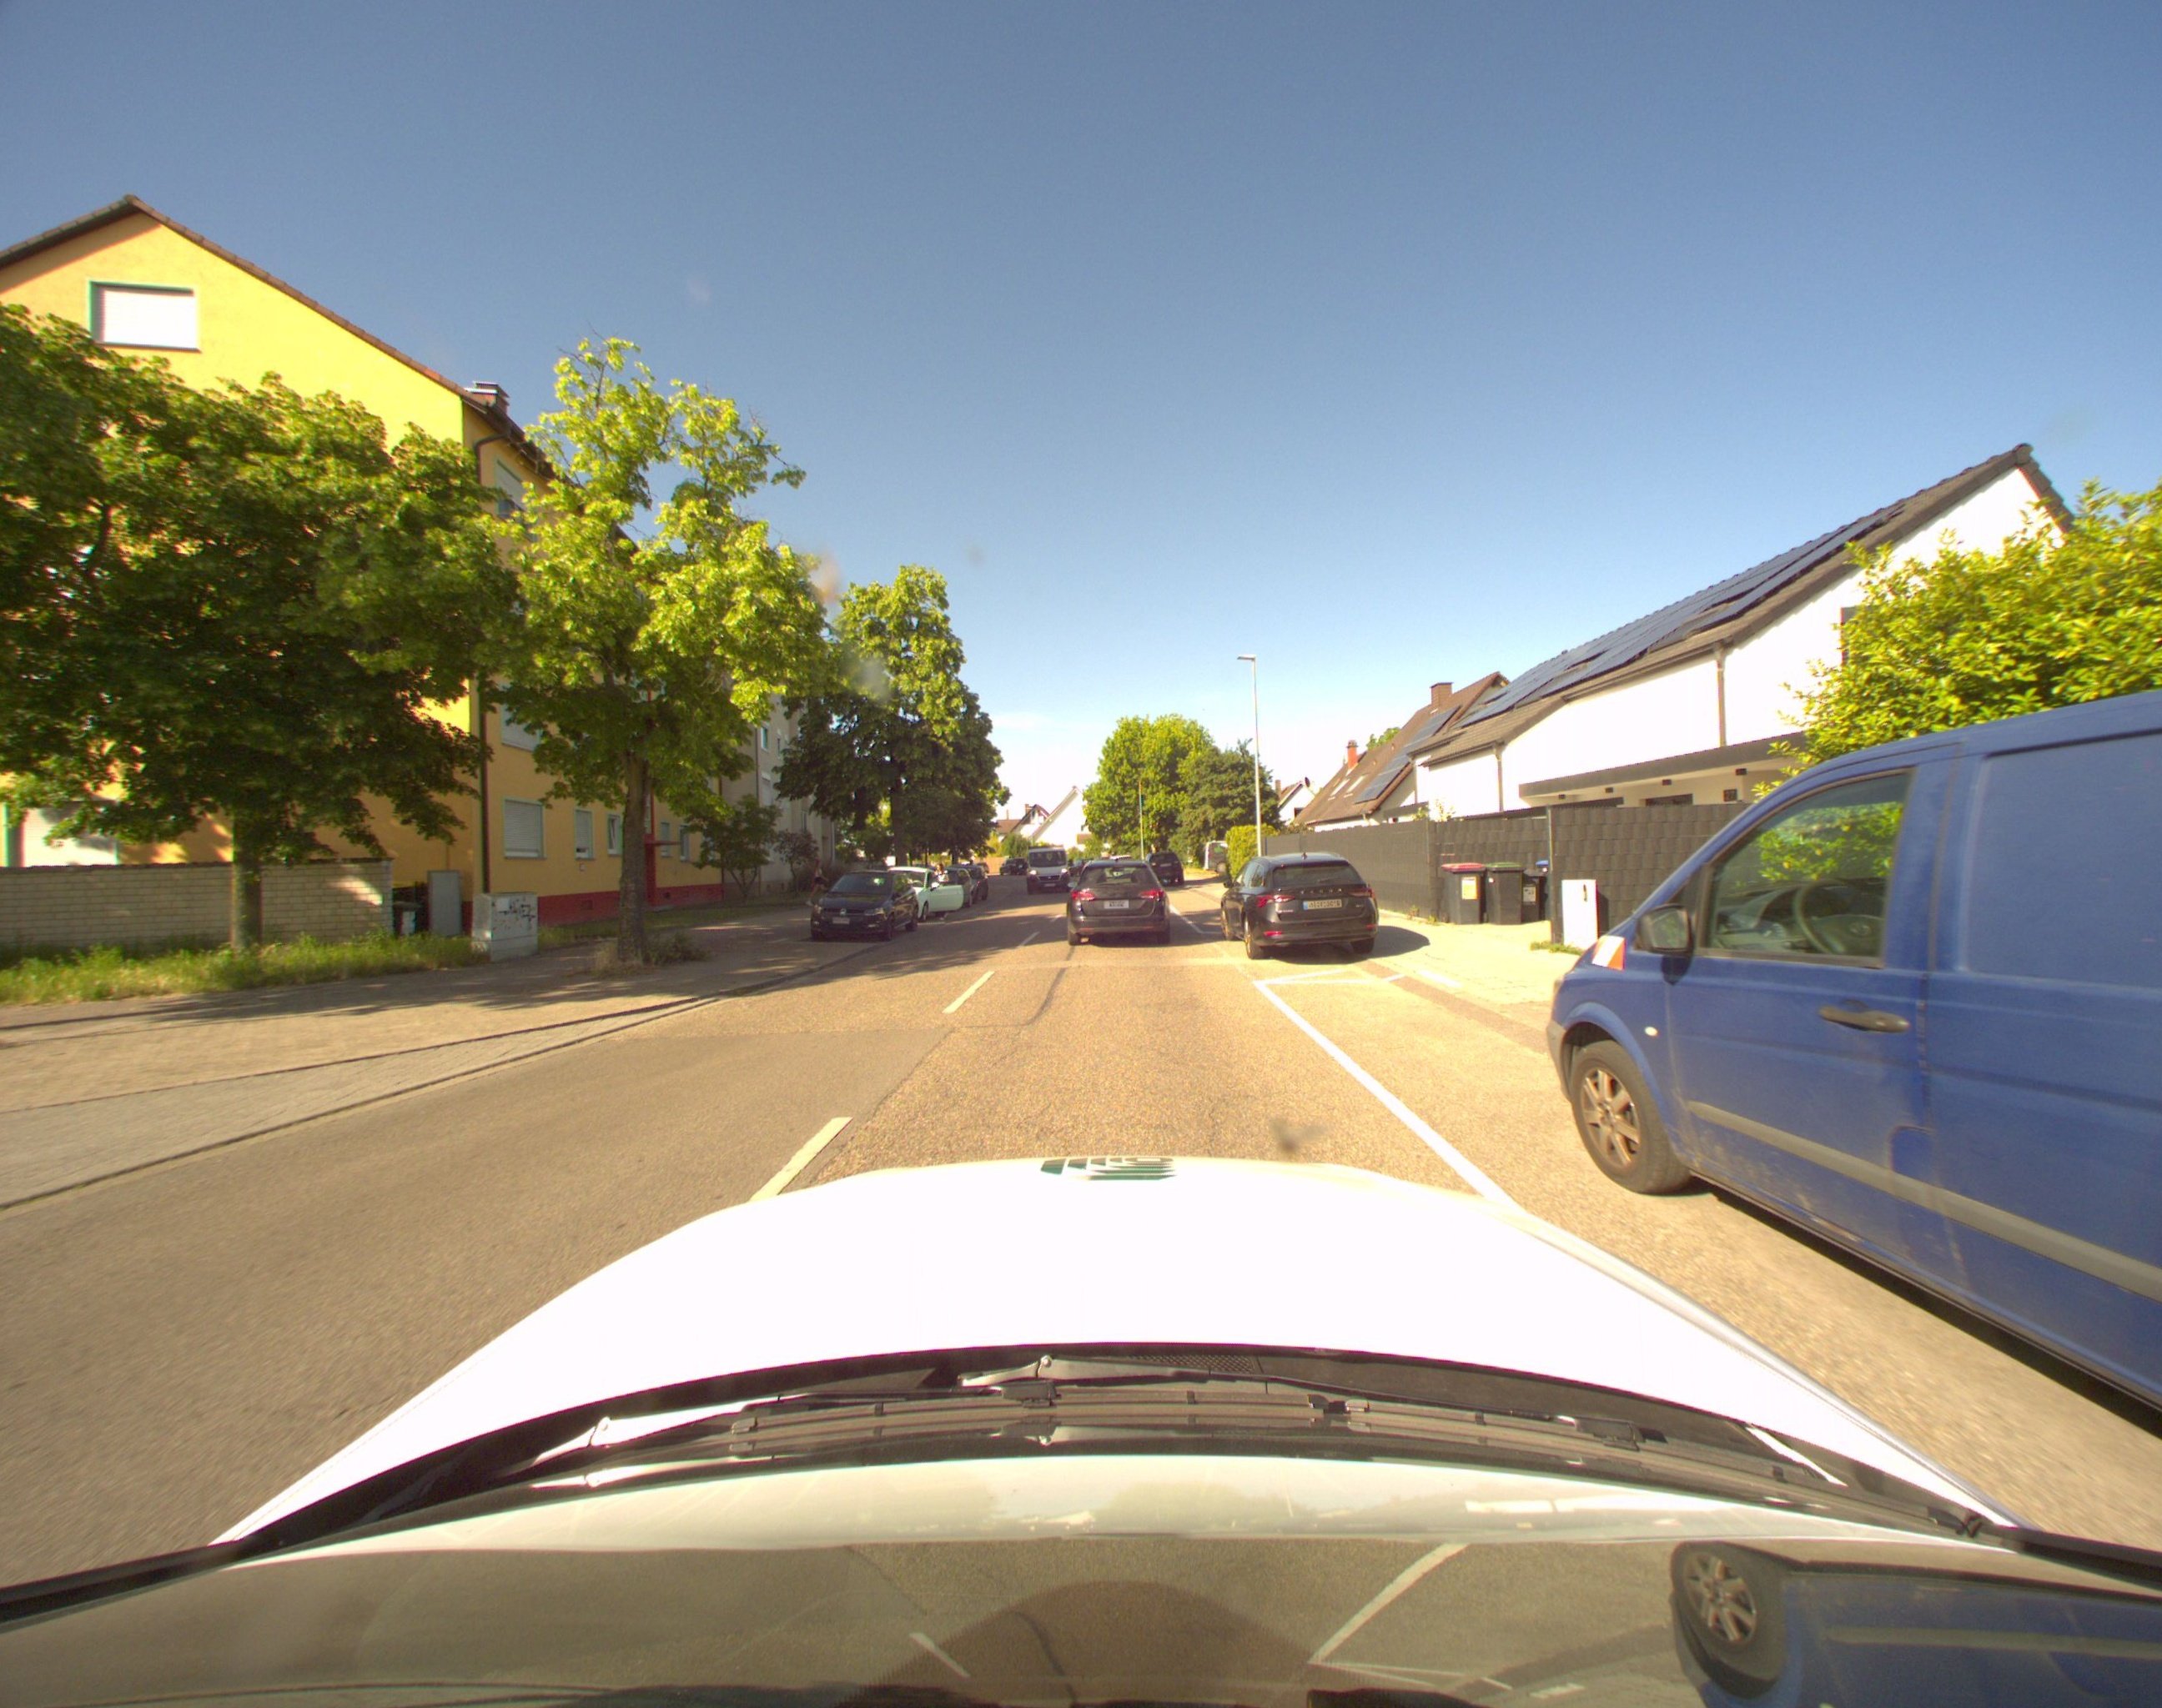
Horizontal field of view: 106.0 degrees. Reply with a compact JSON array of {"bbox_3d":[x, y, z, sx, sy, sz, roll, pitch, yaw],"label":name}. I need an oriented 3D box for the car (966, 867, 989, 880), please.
[{"bbox_3d":[-12.364,2.337,97.383,1.922,1.407,4.266,-1,-1,-19],"label":"car"}]

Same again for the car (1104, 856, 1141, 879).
[{"bbox_3d":[2.799,0.916,55.656,1.760,1.480,4.281,-1,-1,-8],"label":"car"}]

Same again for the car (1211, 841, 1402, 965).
[{"bbox_3d":[3.210,0.623,12.657,1.758,1.480,4.994,-2,0,3],"label":"car"}]

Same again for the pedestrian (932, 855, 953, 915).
[{"bbox_3d":[-4.134,0.923,24.281,0.503,1.761,0.694,-1,-3,-2],"label":"pedestrian"}]

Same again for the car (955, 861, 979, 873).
[{"bbox_3d":[-14.542,1.618,103.651,1.926,1.407,4.258,-1,-1,-25],"label":"car"}]

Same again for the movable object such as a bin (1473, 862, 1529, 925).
[{"bbox_3d":[7.258,0.682,14.102,0.592,1.040,0.705,-2,-3,4],"label":"movable object such as a bin"}]

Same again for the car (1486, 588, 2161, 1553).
[{"bbox_3d":[3.075,0.431,2.168,1.829,1.908,4.701,0,-1,3],"label":"car"}]

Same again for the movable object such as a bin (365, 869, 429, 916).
[{"bbox_3d":[-14.117,0.789,16.829,0.696,0.911,0.744,-1,0,-6],"label":"movable object such as a bin"}]

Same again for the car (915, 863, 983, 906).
[{"bbox_3d":[-4.843,1.100,30.432,1.650,1.510,4.003,0,-1,4],"label":"car"}]

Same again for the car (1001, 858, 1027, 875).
[{"bbox_3d":[-7.064,1.303,85.107,1.907,1.666,4.167,-1,-1,-16],"label":"car"}]

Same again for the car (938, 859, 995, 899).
[{"bbox_3d":[-4.774,0.999,34.493,1.561,1.530,3.921,3,0,3],"label":"car"}]

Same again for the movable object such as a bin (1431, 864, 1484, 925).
[{"bbox_3d":[6.633,0.709,14.386,0.592,1.040,0.705,-2,-3,4],"label":"movable object such as a bin"}]

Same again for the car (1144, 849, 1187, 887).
[{"bbox_3d":[4.052,0.684,39.671,1.771,1.724,4.296,-2,-1,2],"label":"car"}]

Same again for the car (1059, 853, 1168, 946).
[{"bbox_3d":[0.604,0.779,15.299,1.755,1.491,4.292,0,-1,2],"label":"car"}]

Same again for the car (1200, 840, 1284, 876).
[{"bbox_3d":[9.664,0.250,49.298,4.663,1.984,2.144,-2,-1,1],"label":"car"}]

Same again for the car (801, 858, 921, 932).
[{"bbox_3d":[-4.913,0.920,18.749,1.696,1.480,4.049,1,-2,-1],"label":"car"}]

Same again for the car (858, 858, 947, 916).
[{"bbox_3d":[-5.215,0.987,24.291,1.695,1.523,4.051,-2,-2,0],"label":"car"}]

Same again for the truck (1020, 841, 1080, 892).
[{"bbox_3d":[-1.465,0.623,40.918,2.119,2.334,6.451,-2,-1,5],"label":"truck"}]

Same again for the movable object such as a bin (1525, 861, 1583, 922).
[{"bbox_3d":[8.338,0.665,14.377,0.592,1.040,0.705,-2,-3,4],"label":"movable object such as a bin"}]

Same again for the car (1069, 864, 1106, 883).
[{"bbox_3d":[0.463,1.569,65.591,2.008,1.475,4.273,-1,-1,-14],"label":"car"}]

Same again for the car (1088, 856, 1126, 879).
[{"bbox_3d":[1.860,1.019,60.457,1.912,1.600,4.277,-1,-1,-11],"label":"car"}]

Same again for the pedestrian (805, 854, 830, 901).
[{"bbox_3d":[-9.750,0.866,30.156,0.683,1.718,0.720,-2,-3,1],"label":"pedestrian"}]
